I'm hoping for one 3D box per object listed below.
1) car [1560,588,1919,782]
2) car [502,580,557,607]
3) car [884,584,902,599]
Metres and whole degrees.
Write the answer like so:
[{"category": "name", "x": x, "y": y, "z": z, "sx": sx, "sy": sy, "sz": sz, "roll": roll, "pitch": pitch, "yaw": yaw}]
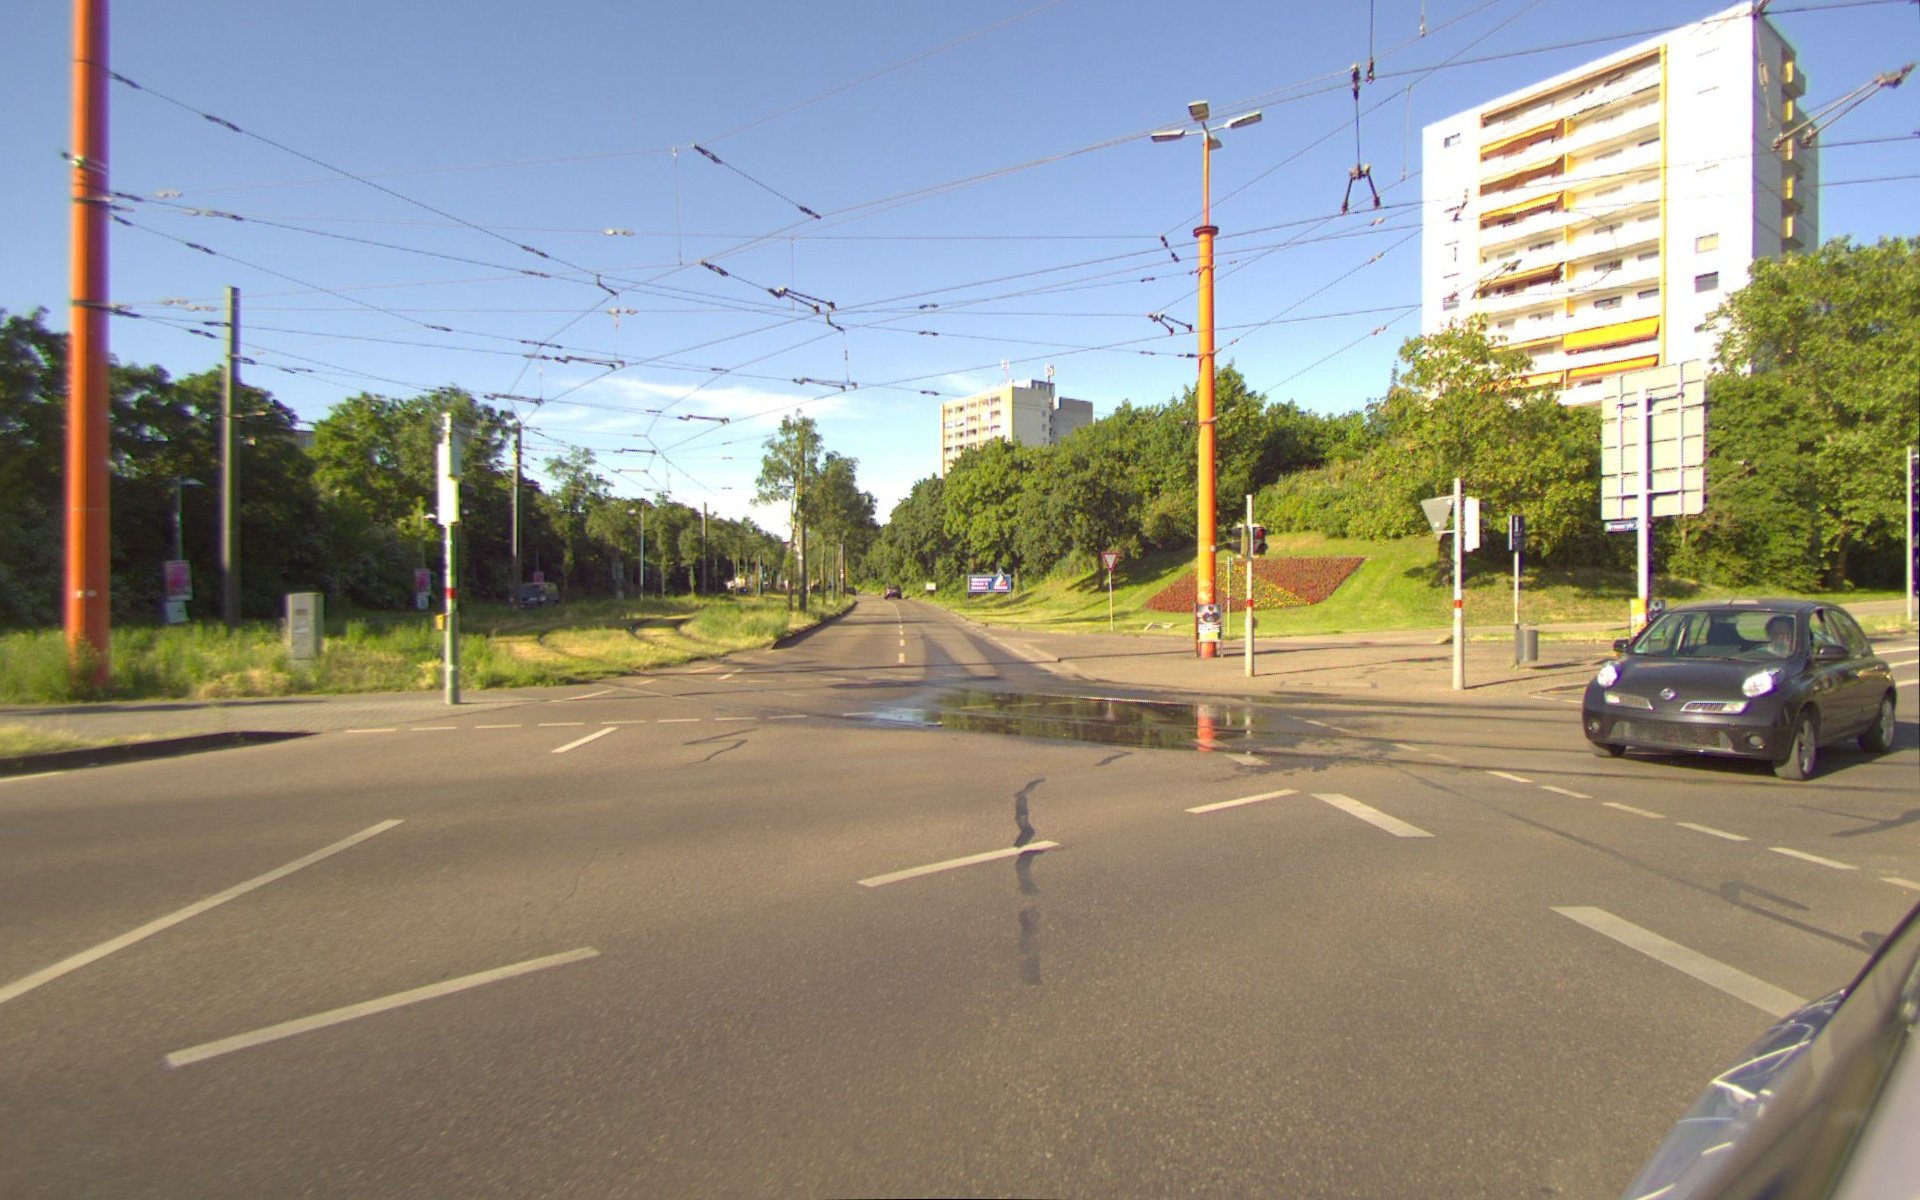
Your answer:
[{"category": "car", "x": 7.887, "y": 0.649, "z": 9.913, "sx": 4.534, "sy": 1.501, "sz": 1.740, "roll": -1, "pitch": 0, "yaw": -35}, {"category": "car", "x": -28.943, "y": -0.419, "z": 68.264, "sx": 1.960, "sy": 1.754, "sz": 4.822, "roll": 0, "pitch": 0, "yaw": -4}, {"category": "car", "x": -7.951, "y": -0.982, "z": 120.017, "sx": 1.960, "sy": 1.725, "sz": 4.698, "roll": -1, "pitch": 0, "yaw": -5}]
